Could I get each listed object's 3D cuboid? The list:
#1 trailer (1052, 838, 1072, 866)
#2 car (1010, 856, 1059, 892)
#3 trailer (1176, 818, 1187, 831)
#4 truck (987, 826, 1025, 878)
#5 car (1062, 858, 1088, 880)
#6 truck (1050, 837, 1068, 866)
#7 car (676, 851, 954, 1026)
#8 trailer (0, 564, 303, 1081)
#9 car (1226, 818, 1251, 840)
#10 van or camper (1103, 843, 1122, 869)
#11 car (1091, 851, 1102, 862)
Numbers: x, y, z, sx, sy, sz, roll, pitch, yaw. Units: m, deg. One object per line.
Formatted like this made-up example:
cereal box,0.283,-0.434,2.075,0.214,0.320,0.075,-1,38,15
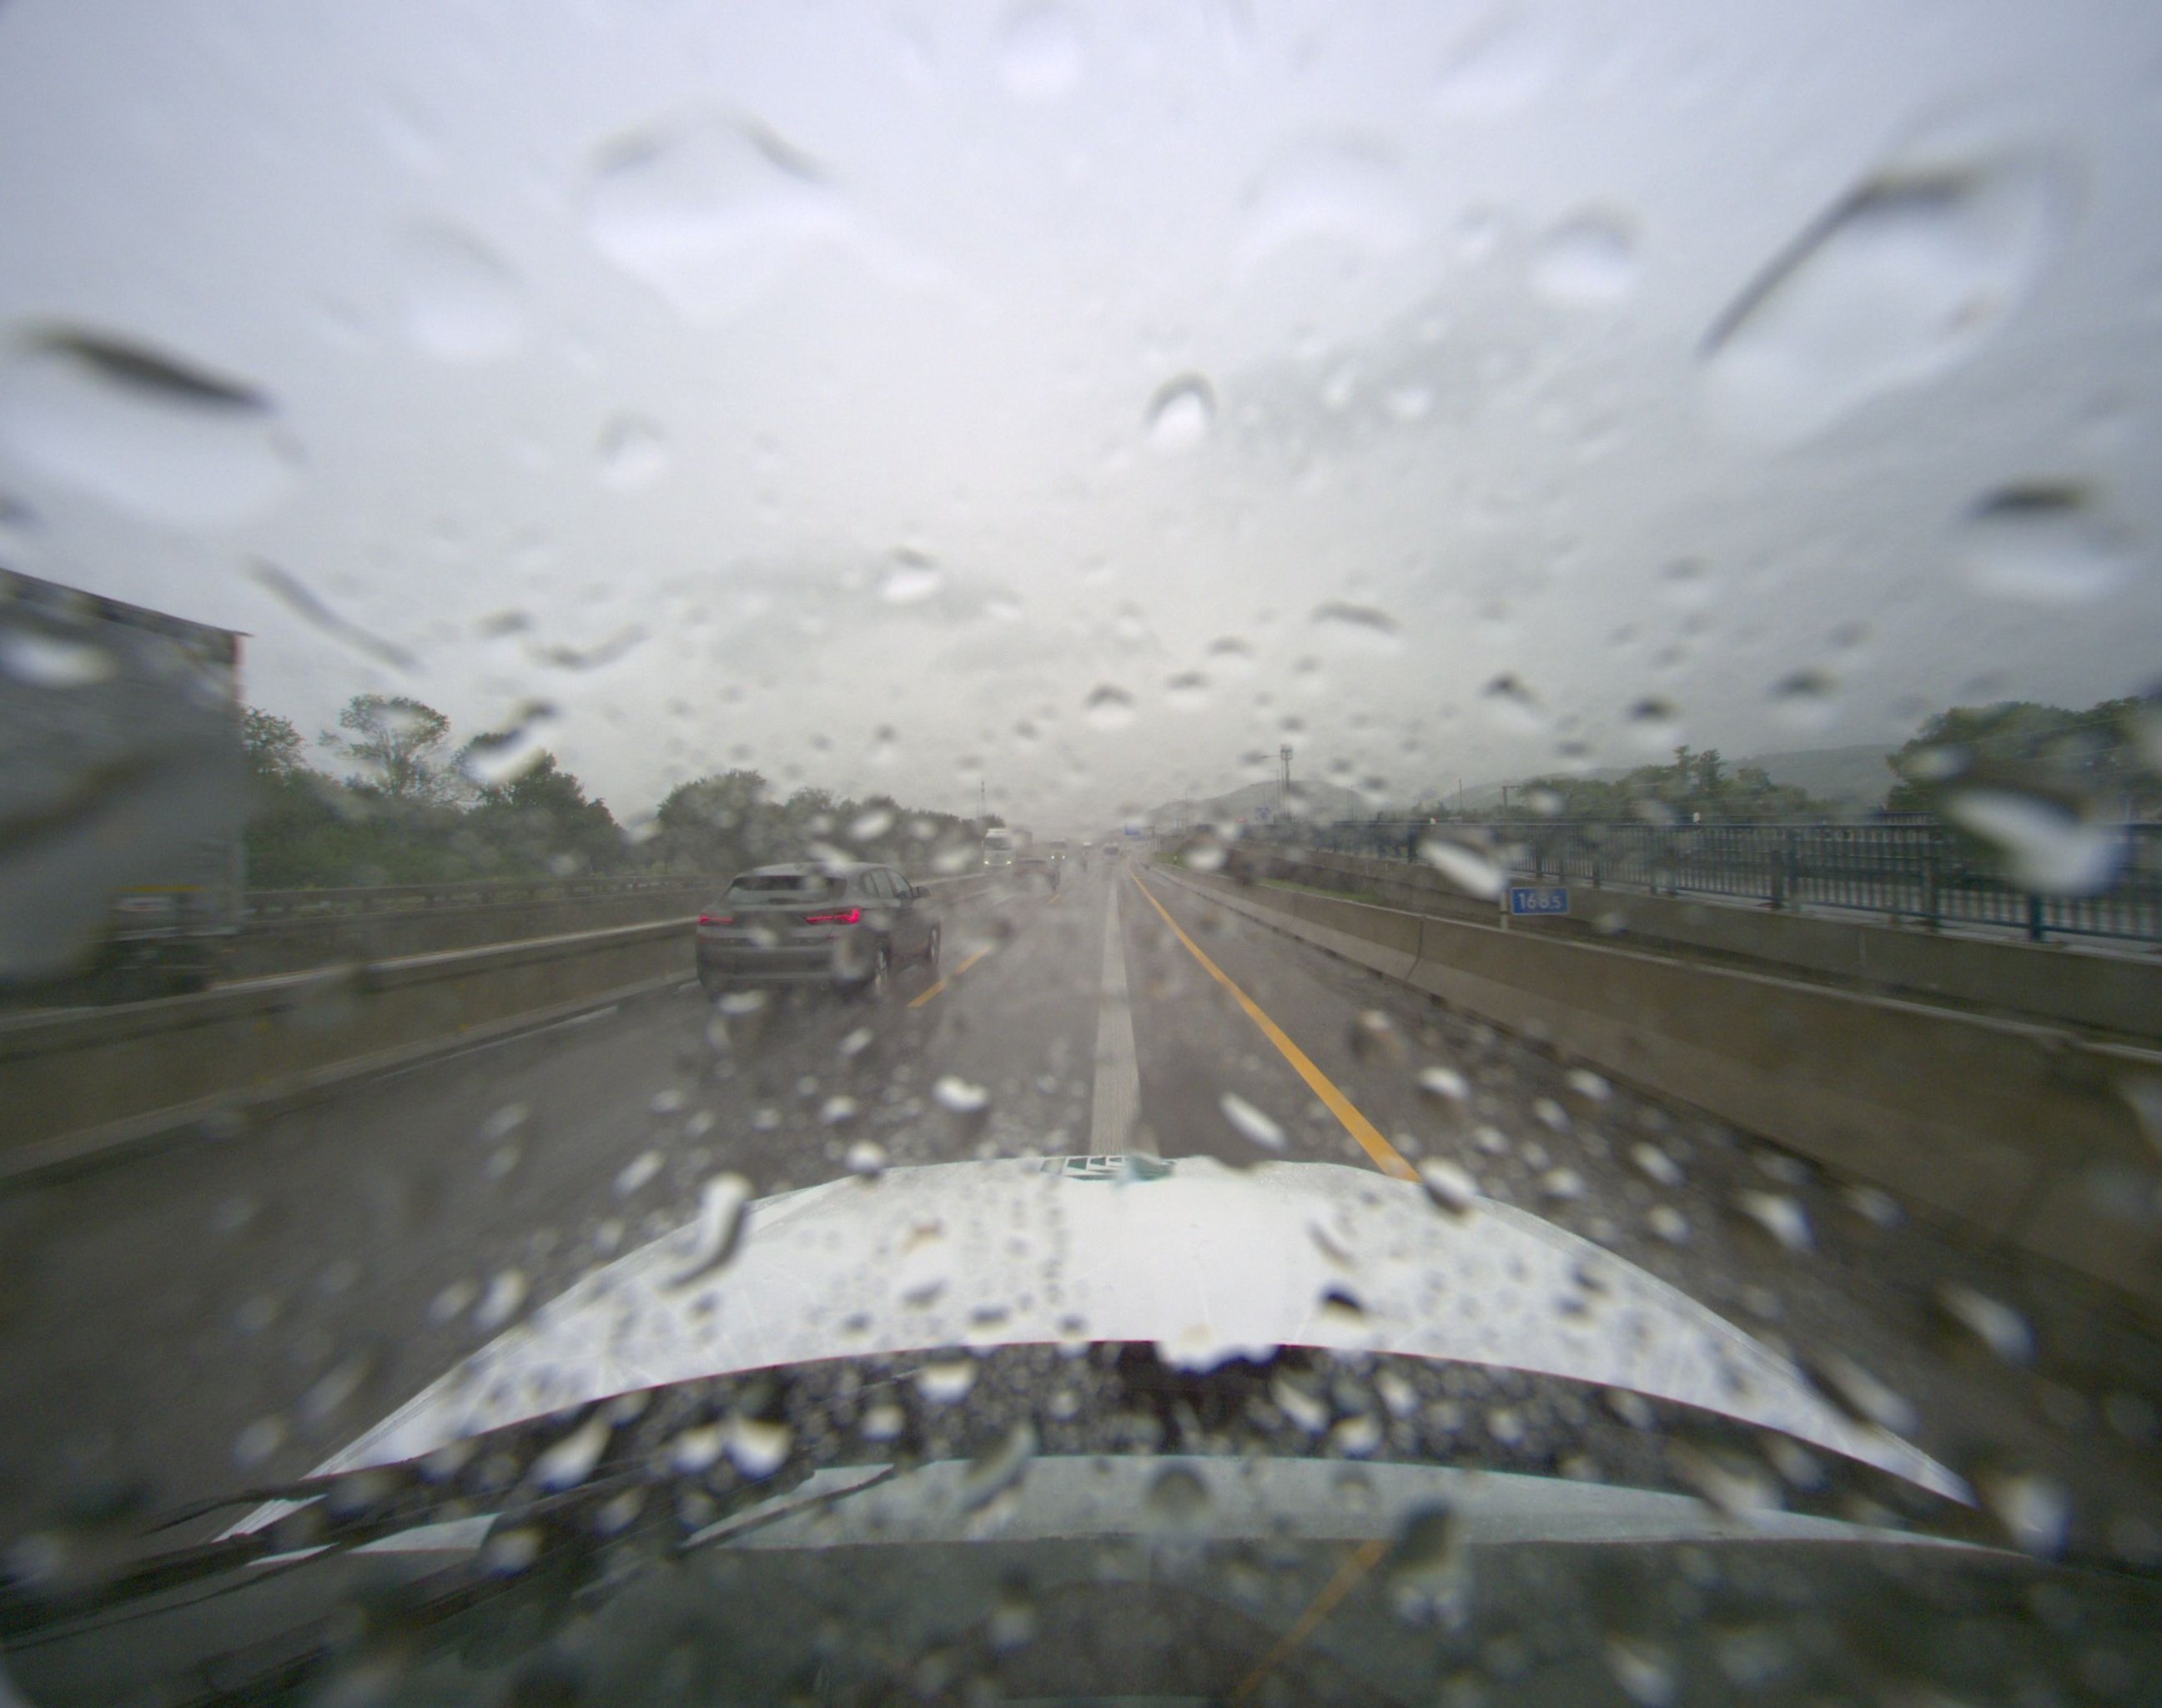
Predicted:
trailer,-3.254,-0.274,141.903,2.537,4.589,12.017,-1,-1,3
car,-2.021,0.868,36.684,1.837,1.491,4.262,-1,-1,1
trailer,22.994,-6.697,186.866,1.984,2.106,13.785,-1,-1,5
truck,-6.688,-0.101,73.457,2.493,4.463,6.884,-1,-1,2
car,-0.413,1.160,63.780,1.838,1.491,4.263,-3,0,1
truck,-3.621,-0.379,135.300,2.549,4.603,6.457,-1,-1,3
car,-2.839,0.784,9.967,1.695,1.598,4.846,-1,0,1
trailer,-10.051,-0.294,2.753,2.640,4.109,12.319,-1,-1,2
car,16.501,-2.622,85.530,1.986,2.142,4.001,-1,-1,1
van or camper,3.449,0.264,88.835,1.989,2.777,4.050,-1,-1,1
car,2.265,0.403,117.753,1.561,1.480,2.822,-3,-1,1
